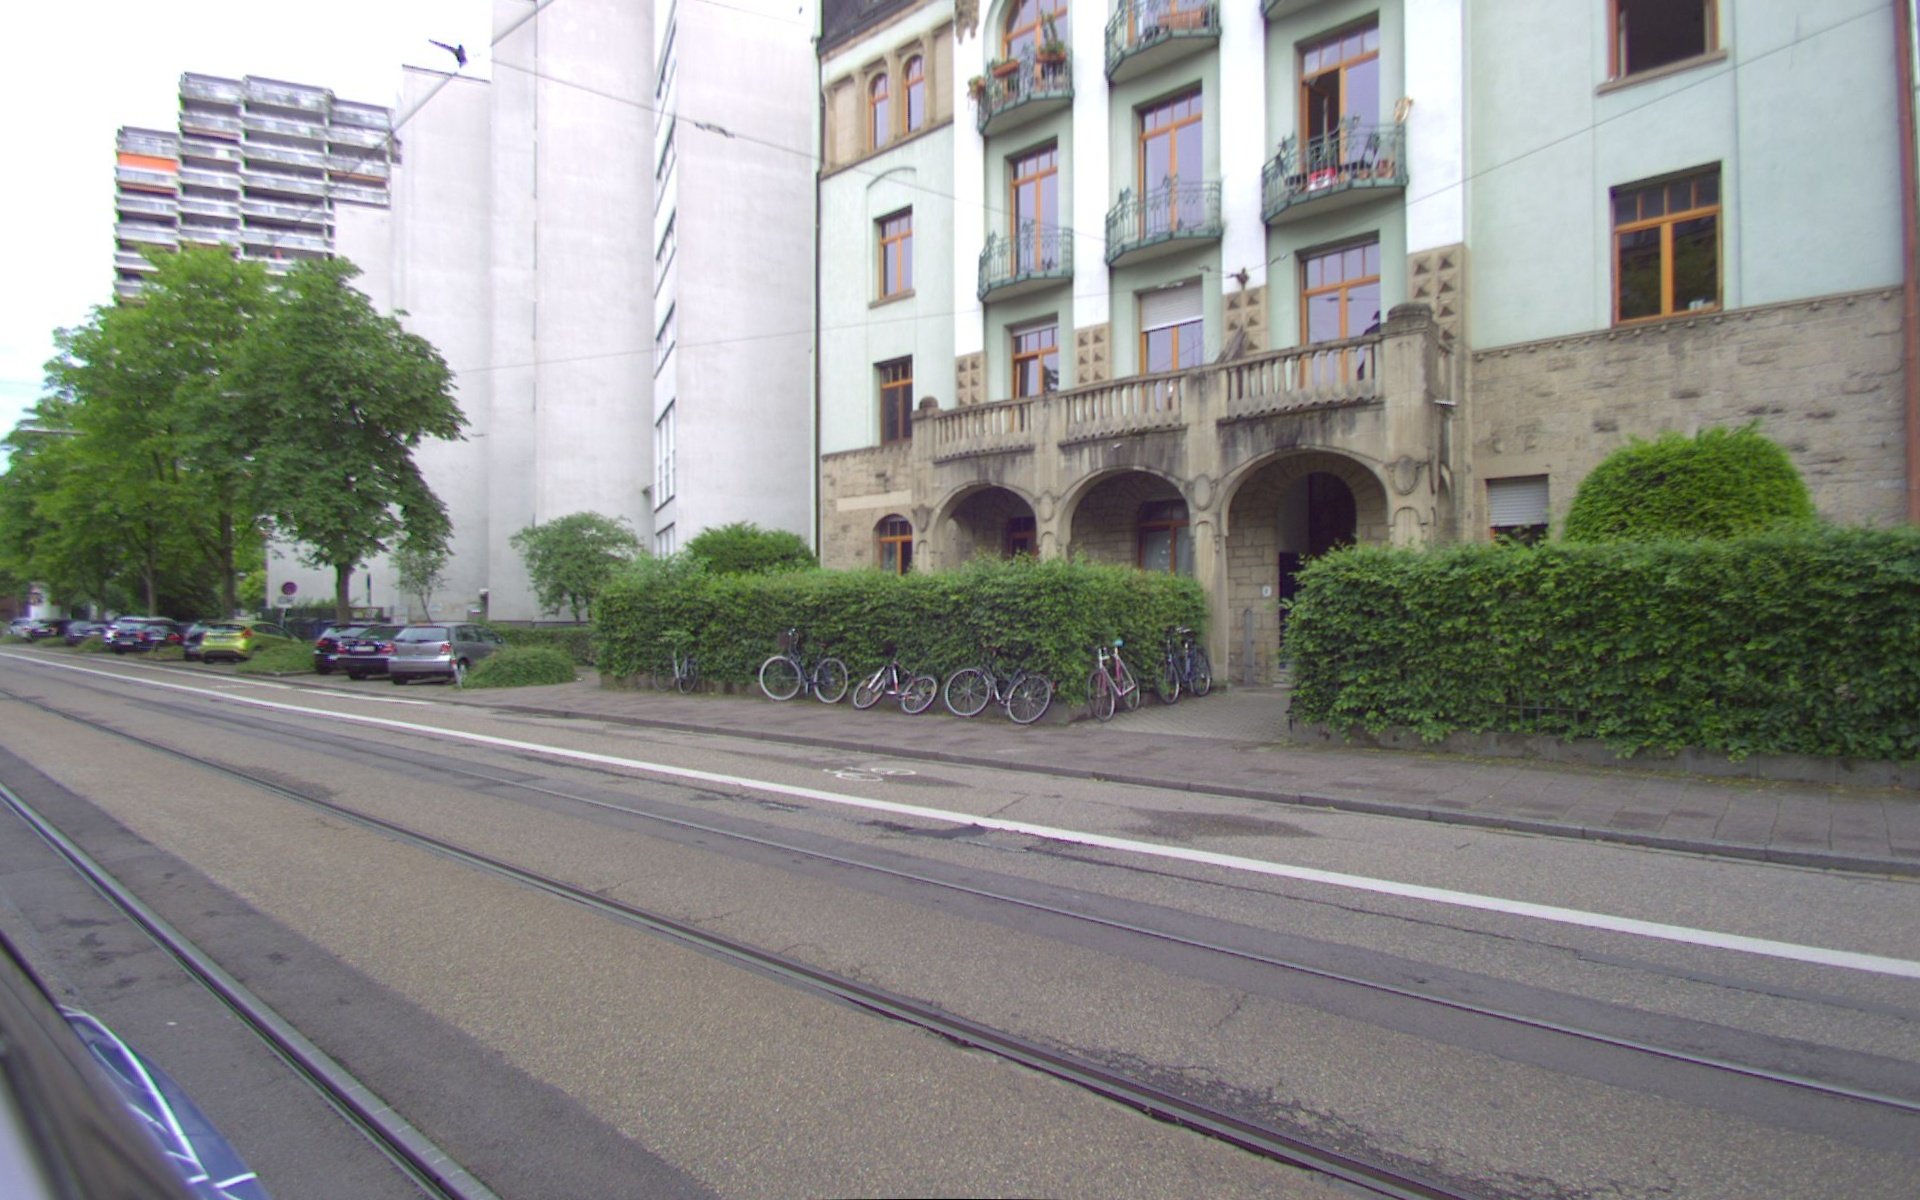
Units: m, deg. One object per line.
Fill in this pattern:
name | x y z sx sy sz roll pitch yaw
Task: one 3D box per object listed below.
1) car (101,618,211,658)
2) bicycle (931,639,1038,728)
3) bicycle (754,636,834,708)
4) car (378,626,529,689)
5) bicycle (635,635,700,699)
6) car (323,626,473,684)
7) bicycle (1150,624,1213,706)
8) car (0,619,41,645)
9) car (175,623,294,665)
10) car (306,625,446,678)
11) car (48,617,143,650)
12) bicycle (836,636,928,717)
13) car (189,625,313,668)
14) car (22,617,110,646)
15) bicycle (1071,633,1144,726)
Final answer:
car | -34.470 1.622 43.522 1.670 1.632 4.002 0 -1 -3
bicycle | 0.301 1.074 13.332 1.546 1.092 0.356 -1 -2 41
bicycle | -2.661 1.118 16.095 1.546 1.092 0.356 -1 -2 41
car | -12.289 1.349 24.856 1.672 1.413 3.998 0 -1 1
bicycle | -5.334 1.198 18.412 1.546 1.092 0.356 -1 -2 41
car | -14.616 1.388 26.580 1.672 1.413 3.998 0 -1 1
bicycle | 3.217 0.918 14.656 0.300 1.091 1.190 -1 1 42
car | -60.372 2.019 64.811 3.996 1.632 1.673 -1 -2 39
car | -26.797 1.588 37.539 1.670 1.453 4.002 0 -1 -3
car | -16.613 1.430 29.026 1.672 1.413 3.998 0 -1 1
car | -44.903 1.721 52.686 1.670 1.632 4.002 0 -1 -3
bicycle | -1.149 1.082 14.663 1.546 1.092 0.356 -1 -2 41
car | -24.645 1.572 35.364 1.670 1.405 4.002 0 -1 -3
car | -51.916 1.792 58.873 1.670 1.632 4.002 0 -1 -3
bicycle | 1.930 1.012 13.197 0.300 1.091 1.190 -1 1 42
